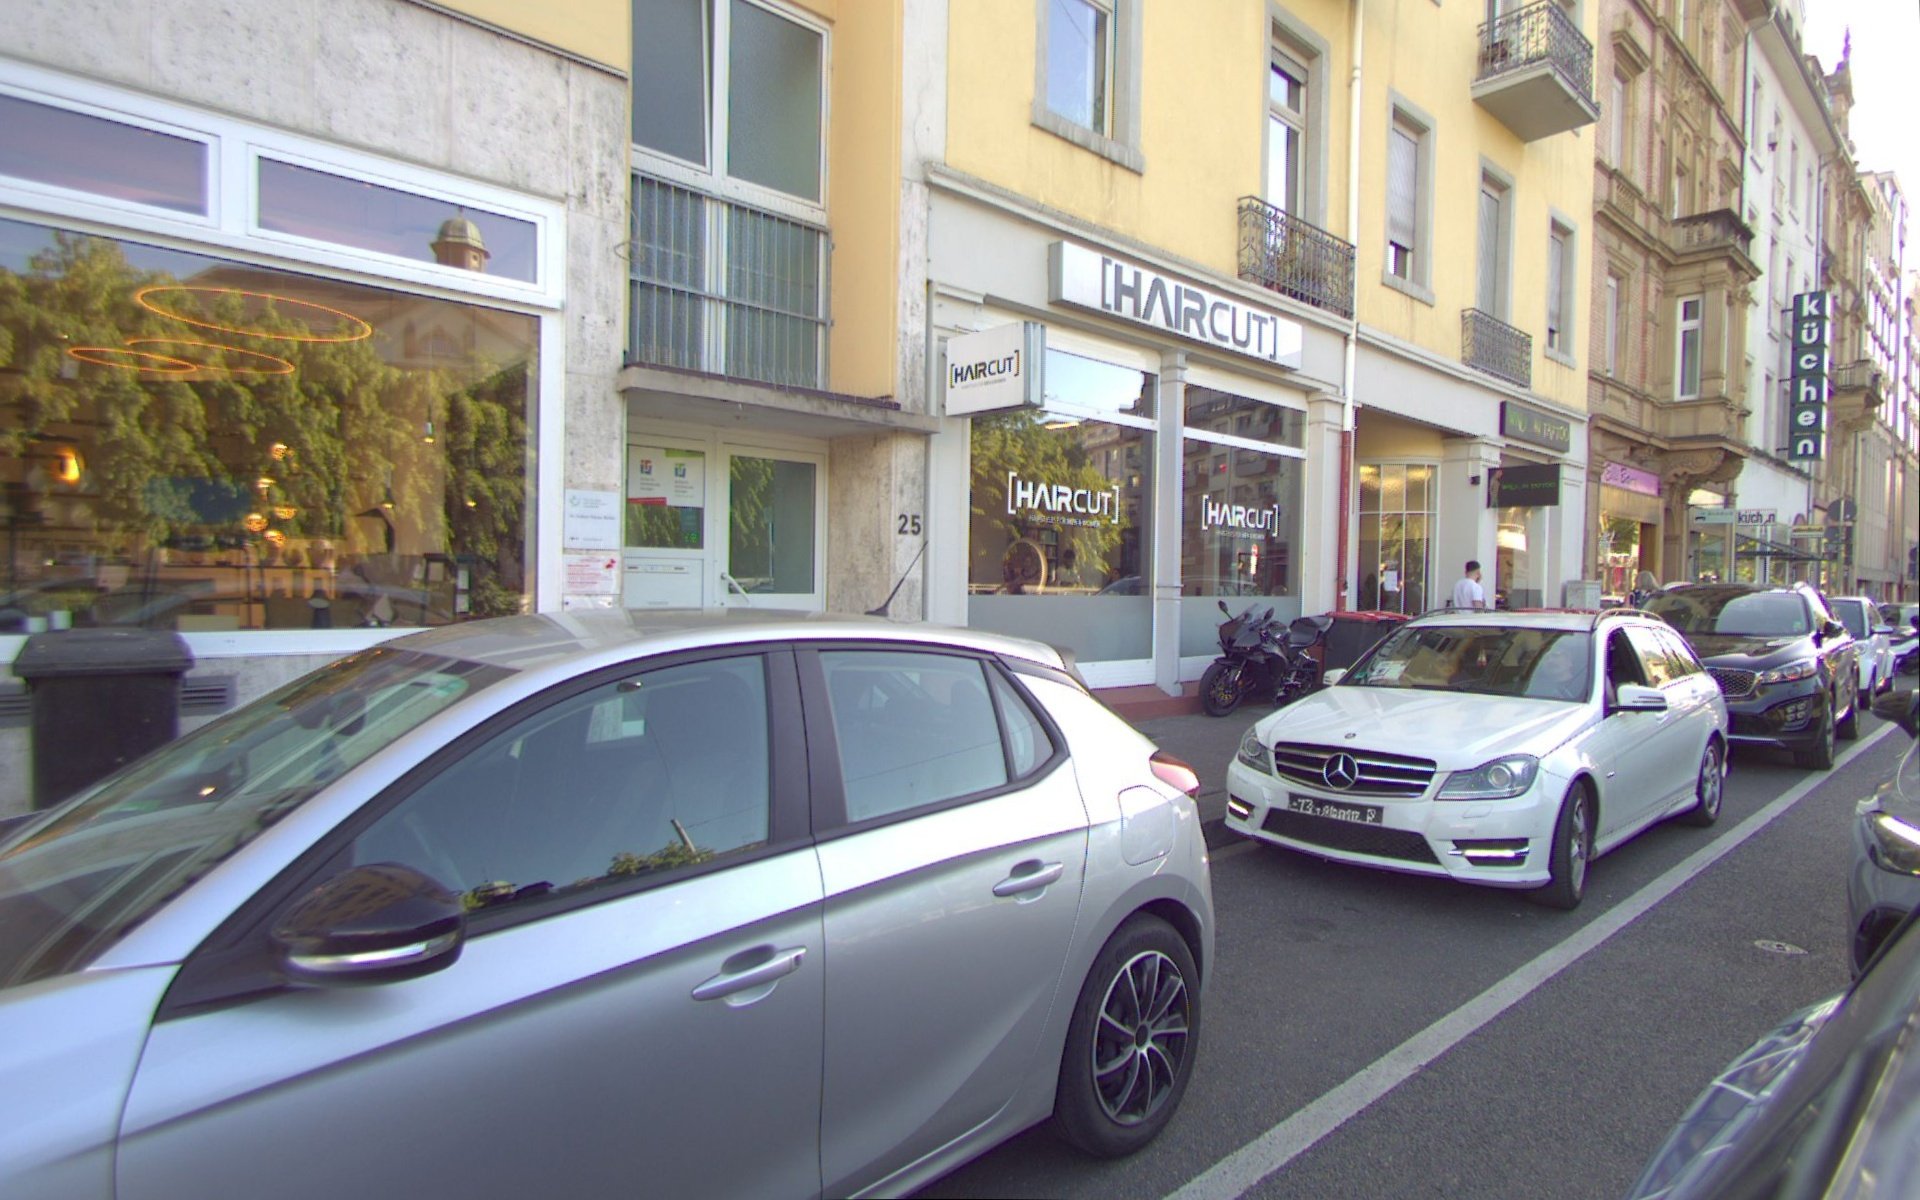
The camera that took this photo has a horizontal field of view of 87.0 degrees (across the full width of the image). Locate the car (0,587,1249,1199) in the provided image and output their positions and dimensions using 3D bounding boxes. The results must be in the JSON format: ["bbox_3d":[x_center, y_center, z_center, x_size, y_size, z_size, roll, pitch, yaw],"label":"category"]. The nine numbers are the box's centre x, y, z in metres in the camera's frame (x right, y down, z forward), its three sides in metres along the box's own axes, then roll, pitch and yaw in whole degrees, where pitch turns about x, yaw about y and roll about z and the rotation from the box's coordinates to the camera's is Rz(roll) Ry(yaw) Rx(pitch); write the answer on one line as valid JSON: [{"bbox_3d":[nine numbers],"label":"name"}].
[{"bbox_3d":[-1.007,0.698,2.289,3.597,1.445,1.549,-1,1,-42],"label":"car"}]

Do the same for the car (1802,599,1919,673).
[{"bbox_3d":[18.028,0.635,19.848,4.016,1.282,1.800,-1,1,-42],"label":"car"}]

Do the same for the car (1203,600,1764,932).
[{"bbox_3d":[3.537,0.718,6.430,4.302,1.376,1.703,-1,1,-41],"label":"car"}]

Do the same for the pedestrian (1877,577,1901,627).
[{"bbox_3d":[34.869,0.061,37.985,0.653,1.874,0.574,0,0,-40],"label":"pedestrian"}]

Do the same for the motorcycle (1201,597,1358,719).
[{"bbox_3d":[3.311,0.547,10.398,1.920,1.091,0.567,-1,4,-41],"label":"motorcycle"}]

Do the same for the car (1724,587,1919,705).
[{"bbox_3d":[13.136,0.581,15.331,4.016,1.546,1.800,-1,0,-42],"label":"car"}]

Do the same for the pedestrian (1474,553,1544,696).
[{"bbox_3d":[7.435,0.317,13.719,0.565,1.874,0.664,0,0,-39],"label":"pedestrian"}]

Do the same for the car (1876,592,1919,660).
[{"bbox_3d":[22.250,0.540,23.067,4.016,1.450,1.657,-1,0,-42],"label":"car"}]

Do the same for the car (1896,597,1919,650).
[{"bbox_3d":[26.648,0.609,27.249,3.773,1.357,1.800,-1,1,-42],"label":"car"}]

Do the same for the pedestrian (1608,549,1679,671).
[{"bbox_3d":[9.658,0.138,14.325,0.711,1.675,0.601,0,0,23],"label":"pedestrian"}]

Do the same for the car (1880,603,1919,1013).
[{"bbox_3d":[5.248,0.706,4.213,3.933,1.376,1.799,-1,1,-43],"label":"car"}]

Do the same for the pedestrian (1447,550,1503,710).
[{"bbox_3d":[6.627,0.366,13.038,0.367,2.008,0.693,1,1,5],"label":"pedestrian"}]

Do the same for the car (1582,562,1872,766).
[{"bbox_3d":[7.970,0.495,10.363,4.176,1.659,1.799,-1,1,-45],"label":"car"}]
